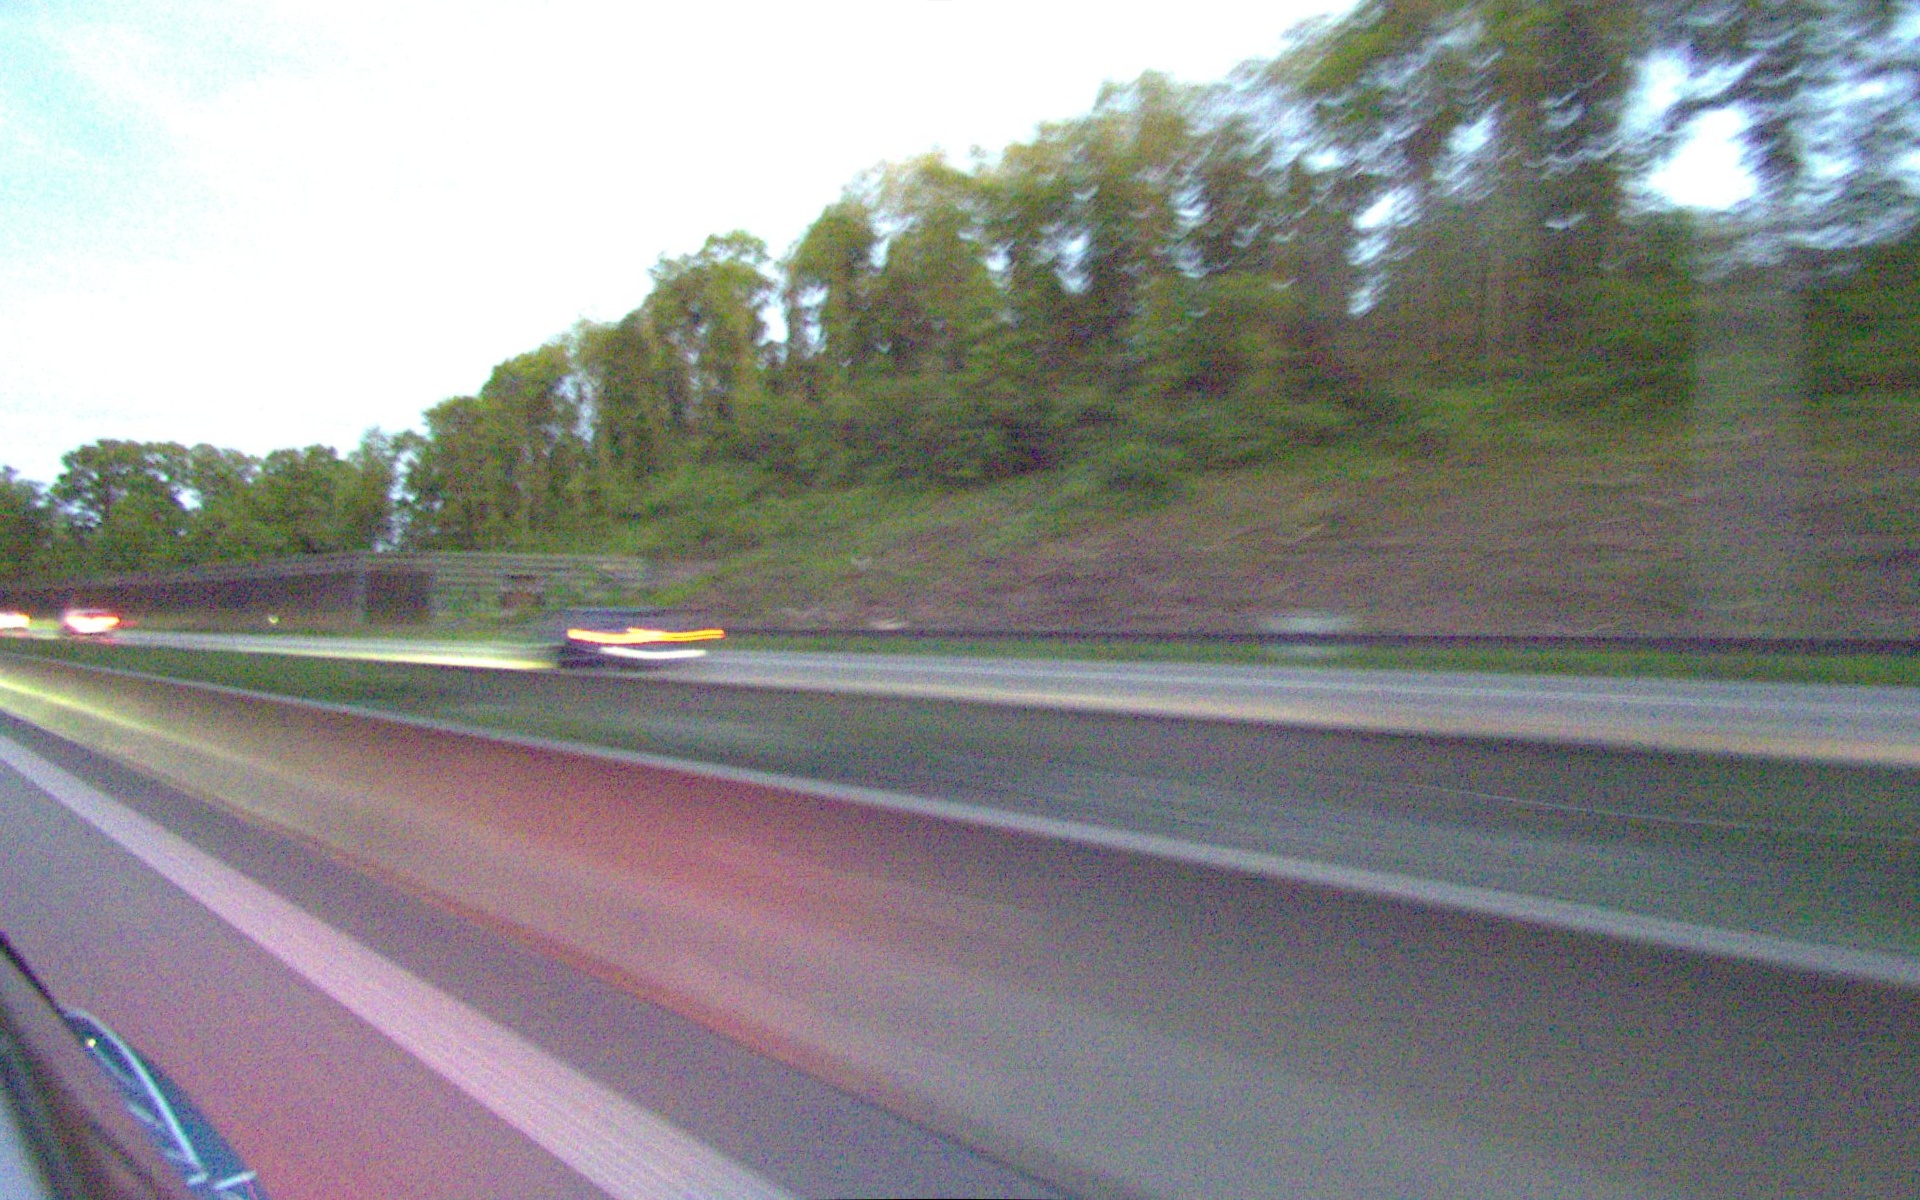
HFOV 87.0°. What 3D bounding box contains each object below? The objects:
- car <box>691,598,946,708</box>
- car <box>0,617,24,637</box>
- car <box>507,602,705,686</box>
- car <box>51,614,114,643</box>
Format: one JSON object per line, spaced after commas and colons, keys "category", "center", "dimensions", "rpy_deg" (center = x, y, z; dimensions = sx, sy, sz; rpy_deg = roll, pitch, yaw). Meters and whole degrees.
{"category": "car", "center": [-2.317, 0.761, 15.856], "dimensions": [4.229, 1.500, 1.581], "rpy_deg": [-2, -1, 41]}
{"category": "car", "center": [-80.113, 2.284, 84.777], "dimensions": [5.091, 1.572, 1.867], "rpy_deg": [-2, -1, 40]}
{"category": "car", "center": [-7.143, 0.827, 20.198], "dimensions": [4.368, 1.490, 1.801], "rpy_deg": [-2, -1, 41]}
{"category": "car", "center": [-53.972, 1.746, 62.200], "dimensions": [5.277, 1.729, 1.901], "rpy_deg": [-1, -1, 37]}
